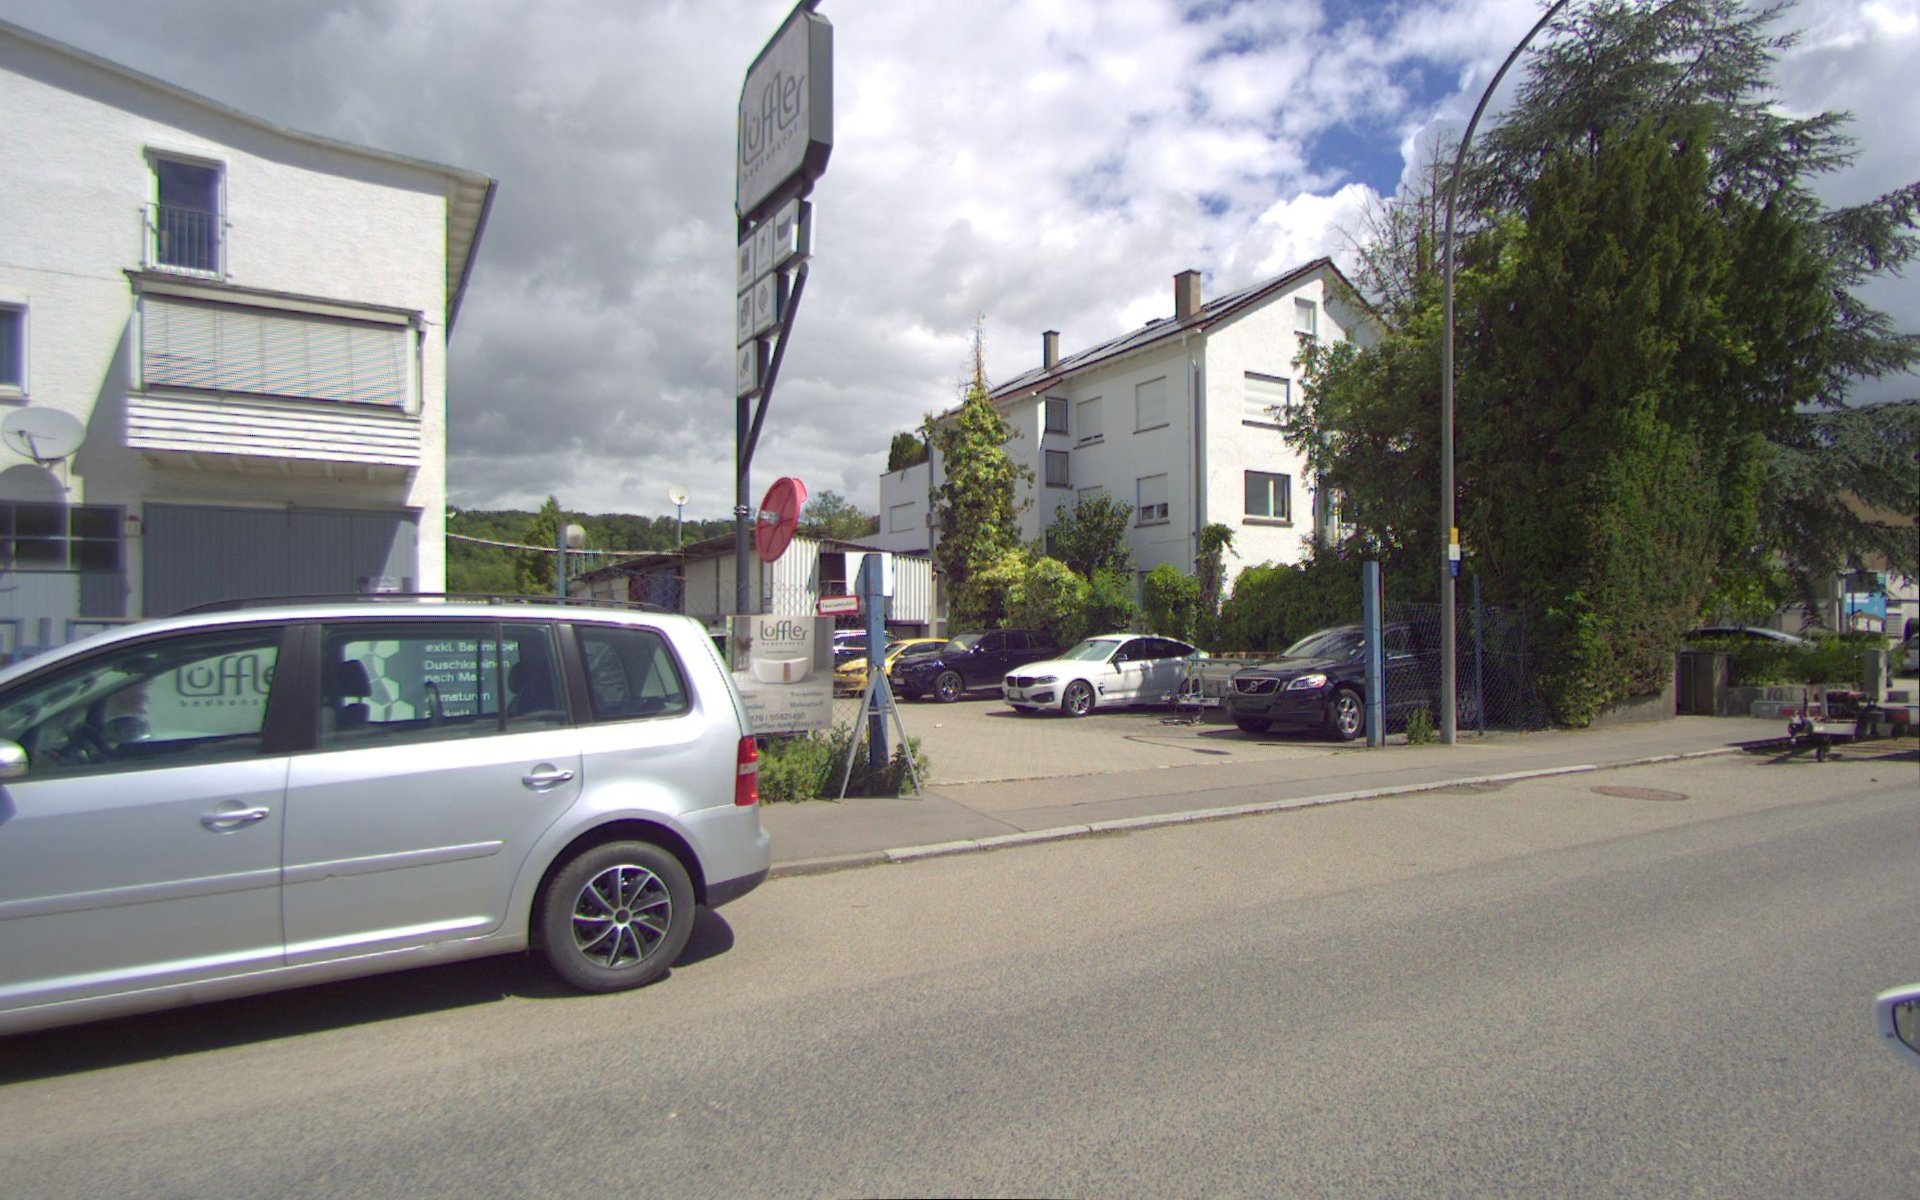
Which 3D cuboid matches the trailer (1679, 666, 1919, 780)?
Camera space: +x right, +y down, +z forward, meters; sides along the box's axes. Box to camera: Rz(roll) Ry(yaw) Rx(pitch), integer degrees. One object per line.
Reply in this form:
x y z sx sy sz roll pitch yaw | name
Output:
11.890 1.447 12.952 5.881 0.937 2.216 1 -1 -32 | trailer

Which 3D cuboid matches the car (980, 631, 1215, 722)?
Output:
2.733 1.413 19.723 4.329 1.564 1.983 1 -2 -33 | car

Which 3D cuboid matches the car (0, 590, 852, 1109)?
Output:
-2.797 0.820 4.324 4.312 1.624 1.783 1 -2 -31 | car

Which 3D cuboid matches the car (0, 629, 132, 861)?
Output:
-8.087 0.972 7.678 1.969 1.504 4.258 5 -4 -31 | car

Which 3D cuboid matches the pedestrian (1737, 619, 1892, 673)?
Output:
31.529 1.632 37.162 1.979 1.729 3.962 1 1 -34 | pedestrian

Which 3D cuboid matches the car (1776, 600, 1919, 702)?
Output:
20.271 1.055 22.373 3.954 2.041 1.983 1 1 -31 | car

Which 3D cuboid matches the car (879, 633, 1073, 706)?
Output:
0.407 1.611 24.251 4.329 1.564 1.983 1 -2 -33 | car

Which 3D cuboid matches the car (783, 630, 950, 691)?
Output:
-2.639 1.664 28.630 4.329 1.564 1.983 1 -2 -33 | car

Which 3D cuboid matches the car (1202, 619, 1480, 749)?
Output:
5.716 1.135 14.982 3.959 1.679 1.981 1 -2 -34 | car

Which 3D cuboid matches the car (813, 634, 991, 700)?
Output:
-1.507 1.713 26.695 4.329 1.564 1.983 1 -2 -33 | car

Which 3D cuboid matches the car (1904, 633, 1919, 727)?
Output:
17.667 1.271 16.494 4.406 1.497 2.064 1 -2 -32 | car

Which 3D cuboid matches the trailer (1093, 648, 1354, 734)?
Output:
4.512 1.450 16.999 4.329 1.197 1.849 1 -2 -33 | trailer
